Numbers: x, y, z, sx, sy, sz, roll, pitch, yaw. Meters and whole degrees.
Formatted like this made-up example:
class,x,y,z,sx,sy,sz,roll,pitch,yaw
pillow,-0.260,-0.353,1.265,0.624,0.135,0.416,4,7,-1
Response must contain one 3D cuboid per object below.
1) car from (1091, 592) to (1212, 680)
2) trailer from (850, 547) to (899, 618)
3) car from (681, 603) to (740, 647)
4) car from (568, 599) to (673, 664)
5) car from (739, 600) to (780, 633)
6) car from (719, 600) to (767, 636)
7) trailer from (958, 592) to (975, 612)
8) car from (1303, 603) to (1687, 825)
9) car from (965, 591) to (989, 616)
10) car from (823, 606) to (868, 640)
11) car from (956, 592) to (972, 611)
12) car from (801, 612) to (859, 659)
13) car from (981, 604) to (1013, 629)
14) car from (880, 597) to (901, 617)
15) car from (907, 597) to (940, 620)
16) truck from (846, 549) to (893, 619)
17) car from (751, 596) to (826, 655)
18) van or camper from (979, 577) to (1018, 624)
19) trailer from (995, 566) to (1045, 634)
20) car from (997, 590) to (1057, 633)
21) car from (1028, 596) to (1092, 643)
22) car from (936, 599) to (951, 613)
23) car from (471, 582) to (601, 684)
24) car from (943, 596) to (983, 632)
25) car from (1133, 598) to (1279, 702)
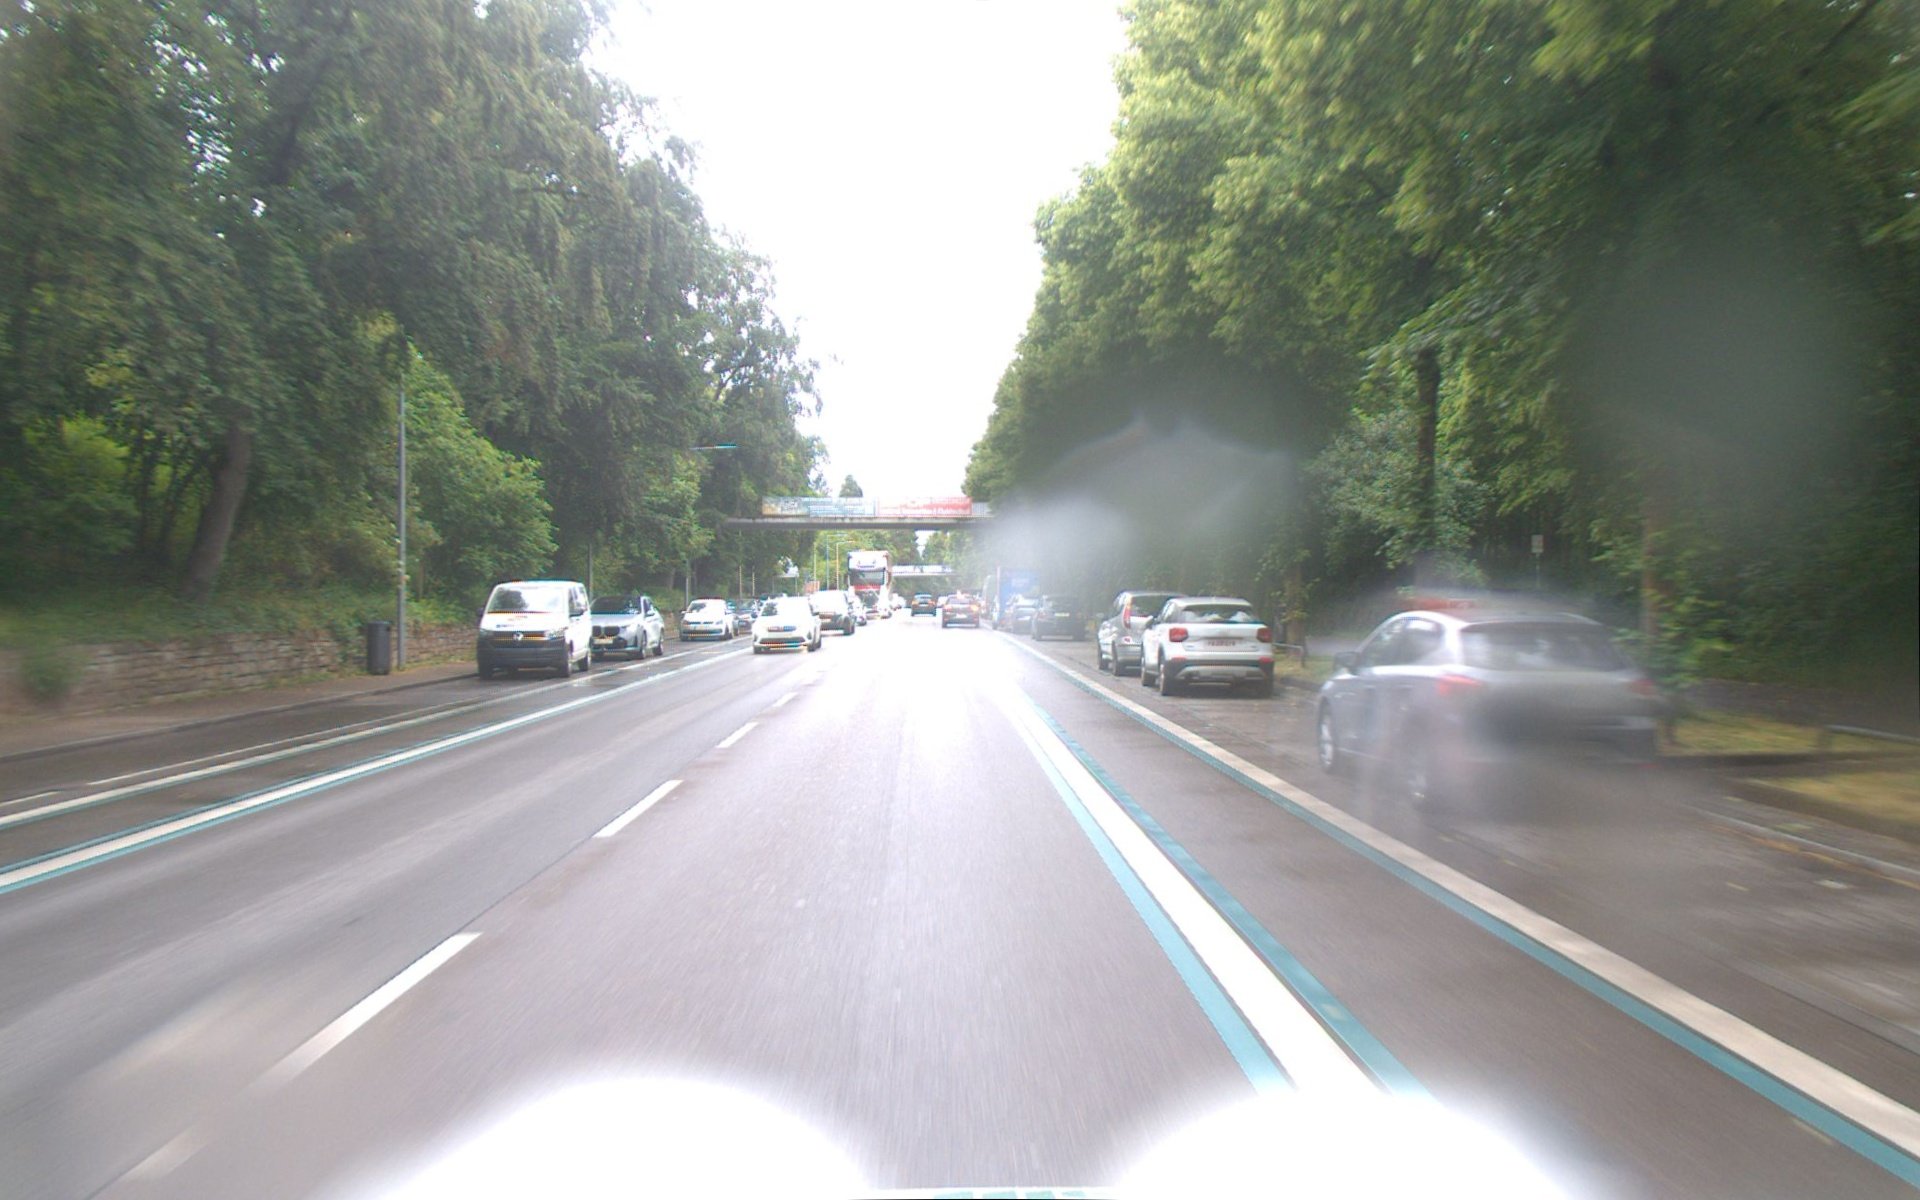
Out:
class,x,y,z,sx,sy,sz,roll,pitch,yaw
car,3.743,0.659,33.033,1.718,1.625,4.738,1,0,-2
trailer,-5.565,-1.088,109.542,2.633,4.333,12.766,-3,0,-1
car,-9.213,0.905,61.248,1.753,1.508,3.980,-1,1,-3
car,-9.077,0.804,44.569,1.970,1.633,4.777,-1,0,-2
car,-9.981,0.793,82.661,1.654,1.573,4.231,-1,1,-2
car,-9.385,0.747,71.721,1.795,1.502,4.037,-1,0,-4
trailer,0.715,0.266,184.741,1.845,2.204,3.807,-1,0,-1
car,4.080,0.784,13.334,1.663,1.479,4.096,1,0,-2
car,1.475,0.268,141.404,1.887,2.057,4.662,1,0,-1
car,-5.533,1.096,80.343,1.876,1.482,4.620,-2,0,0
car,0.448,0.193,201.496,1.850,2.164,4.044,-1,0,0
car,-4.872,1.308,62.396,1.921,1.645,4.464,-1,0,-1
car,2.111,0.927,94.931,1.652,1.441,4.099,0,0,-1
car,-6.235,0.636,148.785,1.797,1.695,4.179,-2,0,-2
car,-2.582,0.578,115.436,2.097,1.518,4.495,1,0,-3
truck,-5.548,-0.965,102.485,2.466,4.117,4.916,-3,0,0
car,-4.697,0.681,45.824,1.740,1.491,4.061,-2,0,-2
van or camper,2.351,0.012,102.085,2.001,2.777,6.897,1,0,-2
trailer,2.564,-0.002,71.083,1.913,2.807,4.006,0,0,-1
car,2.602,0.427,65.121,1.862,1.574,4.752,1,0,-4
car,3.352,0.641,56.199,1.788,1.529,4.569,0,0,-2
car,-1.985,0.711,202.046,1.696,1.611,4.035,-1,0,-2
car,-9.055,0.652,35.723,1.935,2.040,5.013,0,0,-6
car,0.115,0.617,75.288,1.781,1.534,4.138,1,0,0
car,3.949,0.747,27.191,1.663,1.540,4.468,1,0,-1
